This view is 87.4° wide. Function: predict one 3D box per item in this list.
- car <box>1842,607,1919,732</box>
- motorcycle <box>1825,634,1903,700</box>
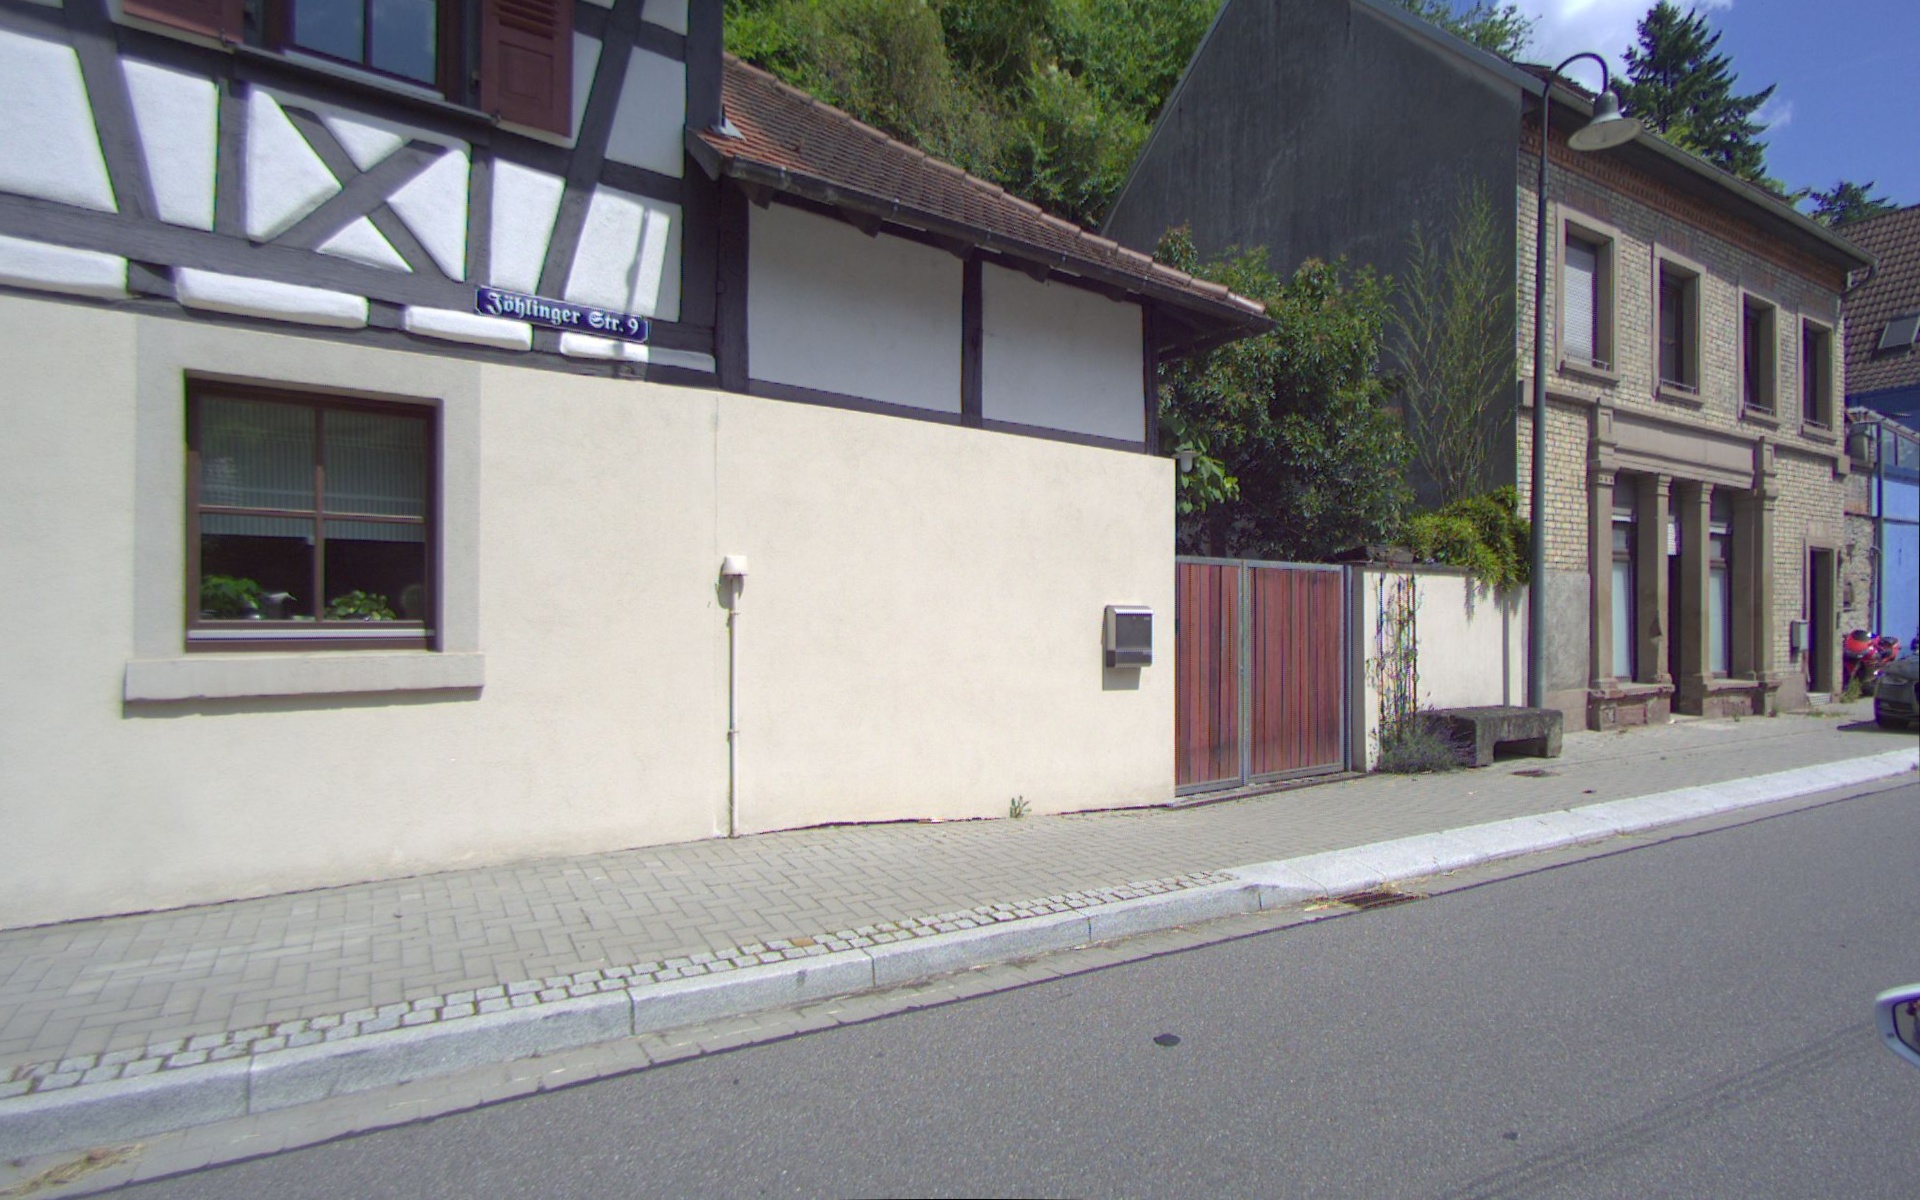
[{"bbox_3d":[13.439,0.886,12.933,4.496,1.485,1.946,2,-1,-32],"label":"car"},{"bbox_3d":[14.952,1.091,16.601,1.838,1.014,0.415,1,3,-33],"label":"motorcycle"}]
